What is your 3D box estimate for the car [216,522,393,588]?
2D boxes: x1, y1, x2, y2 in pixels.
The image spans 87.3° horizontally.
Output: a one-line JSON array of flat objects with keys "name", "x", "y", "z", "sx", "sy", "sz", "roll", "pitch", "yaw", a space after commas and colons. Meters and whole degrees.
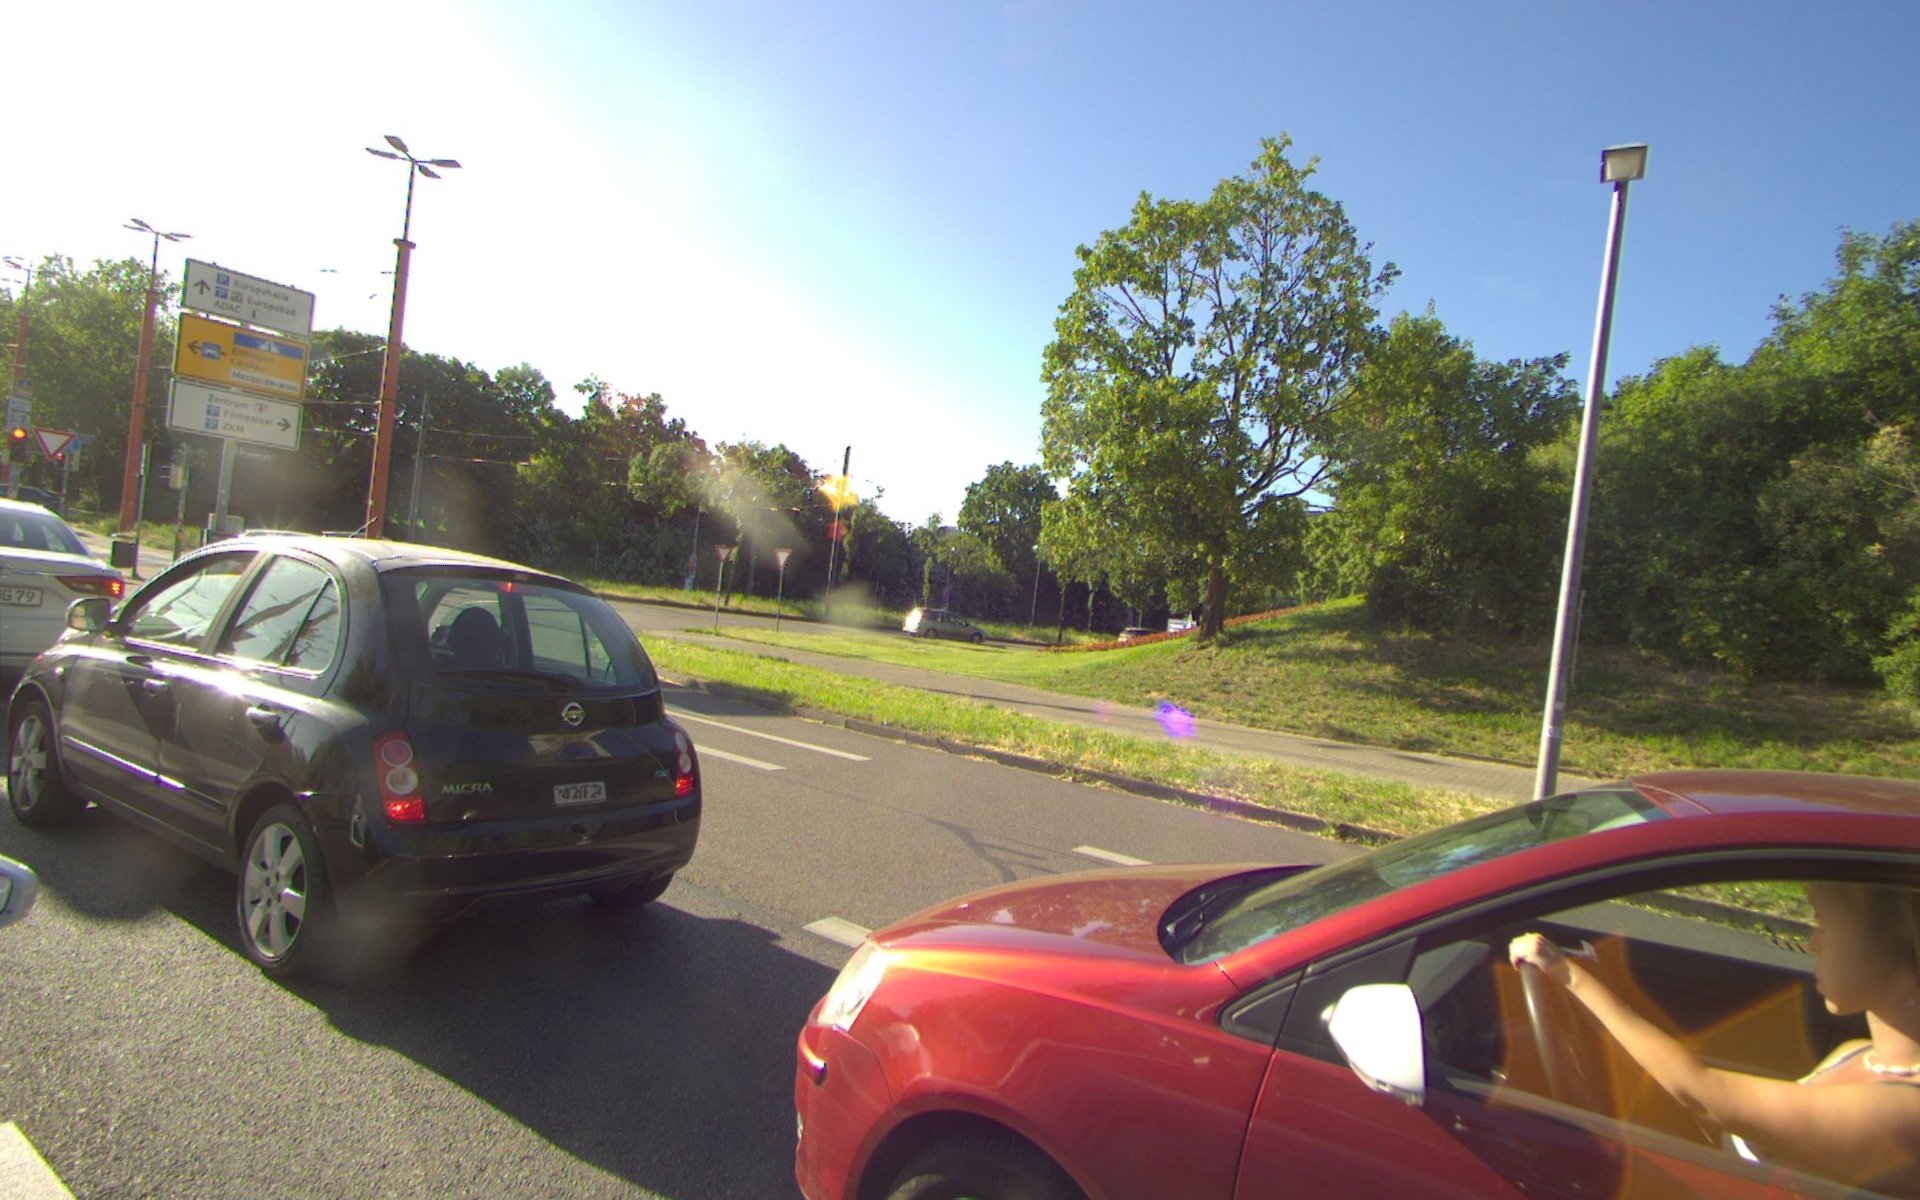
[{"name": "car", "x": -21.842, "y": -1.464, "z": 33.762, "sx": 4.717, "sy": 1.512, "sz": 1.758, "roll": 8, "pitch": -1, "yaw": -29}]

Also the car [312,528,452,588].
[{"name": "car", "x": -21.510, "y": -1.558, "z": 37.583, "sx": 4.318, "sy": 1.600, "sz": 1.758, "roll": 8, "pitch": -1, "yaw": -30}]

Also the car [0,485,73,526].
[{"name": "car", "x": -46.556, "y": -4.751, "z": 49.132, "sx": 4.423, "sy": 1.615, "sz": 1.983, "roll": 8, "pitch": -1, "yaw": -32}]

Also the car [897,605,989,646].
[{"name": "car", "x": -0.768, "y": 1.194, "z": 46.394, "sx": 3.817, "sy": 1.371, "sz": 1.709, "roll": 8, "pitch": -1, "yaw": -31}]

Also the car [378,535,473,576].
[{"name": "car", "x": -29.834, "y": -2.465, "z": 56.183, "sx": 4.423, "sy": 1.615, "sz": 1.983, "roll": 8, "pitch": -1, "yaw": -32}]

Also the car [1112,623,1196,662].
[{"name": "car", "x": 10.996, "y": 2.429, "z": 56.889, "sx": 4.548, "sy": 1.630, "sz": 1.709, "roll": 8, "pitch": -1, "yaw": -31}]

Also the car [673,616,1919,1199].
[{"name": "car", "x": 1.367, "y": 0.988, "z": 1.899, "sx": 3.634, "sy": 1.434, "sz": 1.624, "roll": 7, "pitch": -1, "yaw": 34}]

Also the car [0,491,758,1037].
[{"name": "car", "x": -2.825, "y": 0.463, "z": 4.629, "sx": 3.457, "sy": 1.524, "sz": 1.558, "roll": 7, "pitch": 0, "yaw": 32}]

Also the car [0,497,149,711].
[{"name": "car", "x": -8.350, "y": -0.165, "z": 7.982, "sx": 4.077, "sy": 1.472, "sz": 1.717, "roll": 7, "pitch": -1, "yaw": 33}]
